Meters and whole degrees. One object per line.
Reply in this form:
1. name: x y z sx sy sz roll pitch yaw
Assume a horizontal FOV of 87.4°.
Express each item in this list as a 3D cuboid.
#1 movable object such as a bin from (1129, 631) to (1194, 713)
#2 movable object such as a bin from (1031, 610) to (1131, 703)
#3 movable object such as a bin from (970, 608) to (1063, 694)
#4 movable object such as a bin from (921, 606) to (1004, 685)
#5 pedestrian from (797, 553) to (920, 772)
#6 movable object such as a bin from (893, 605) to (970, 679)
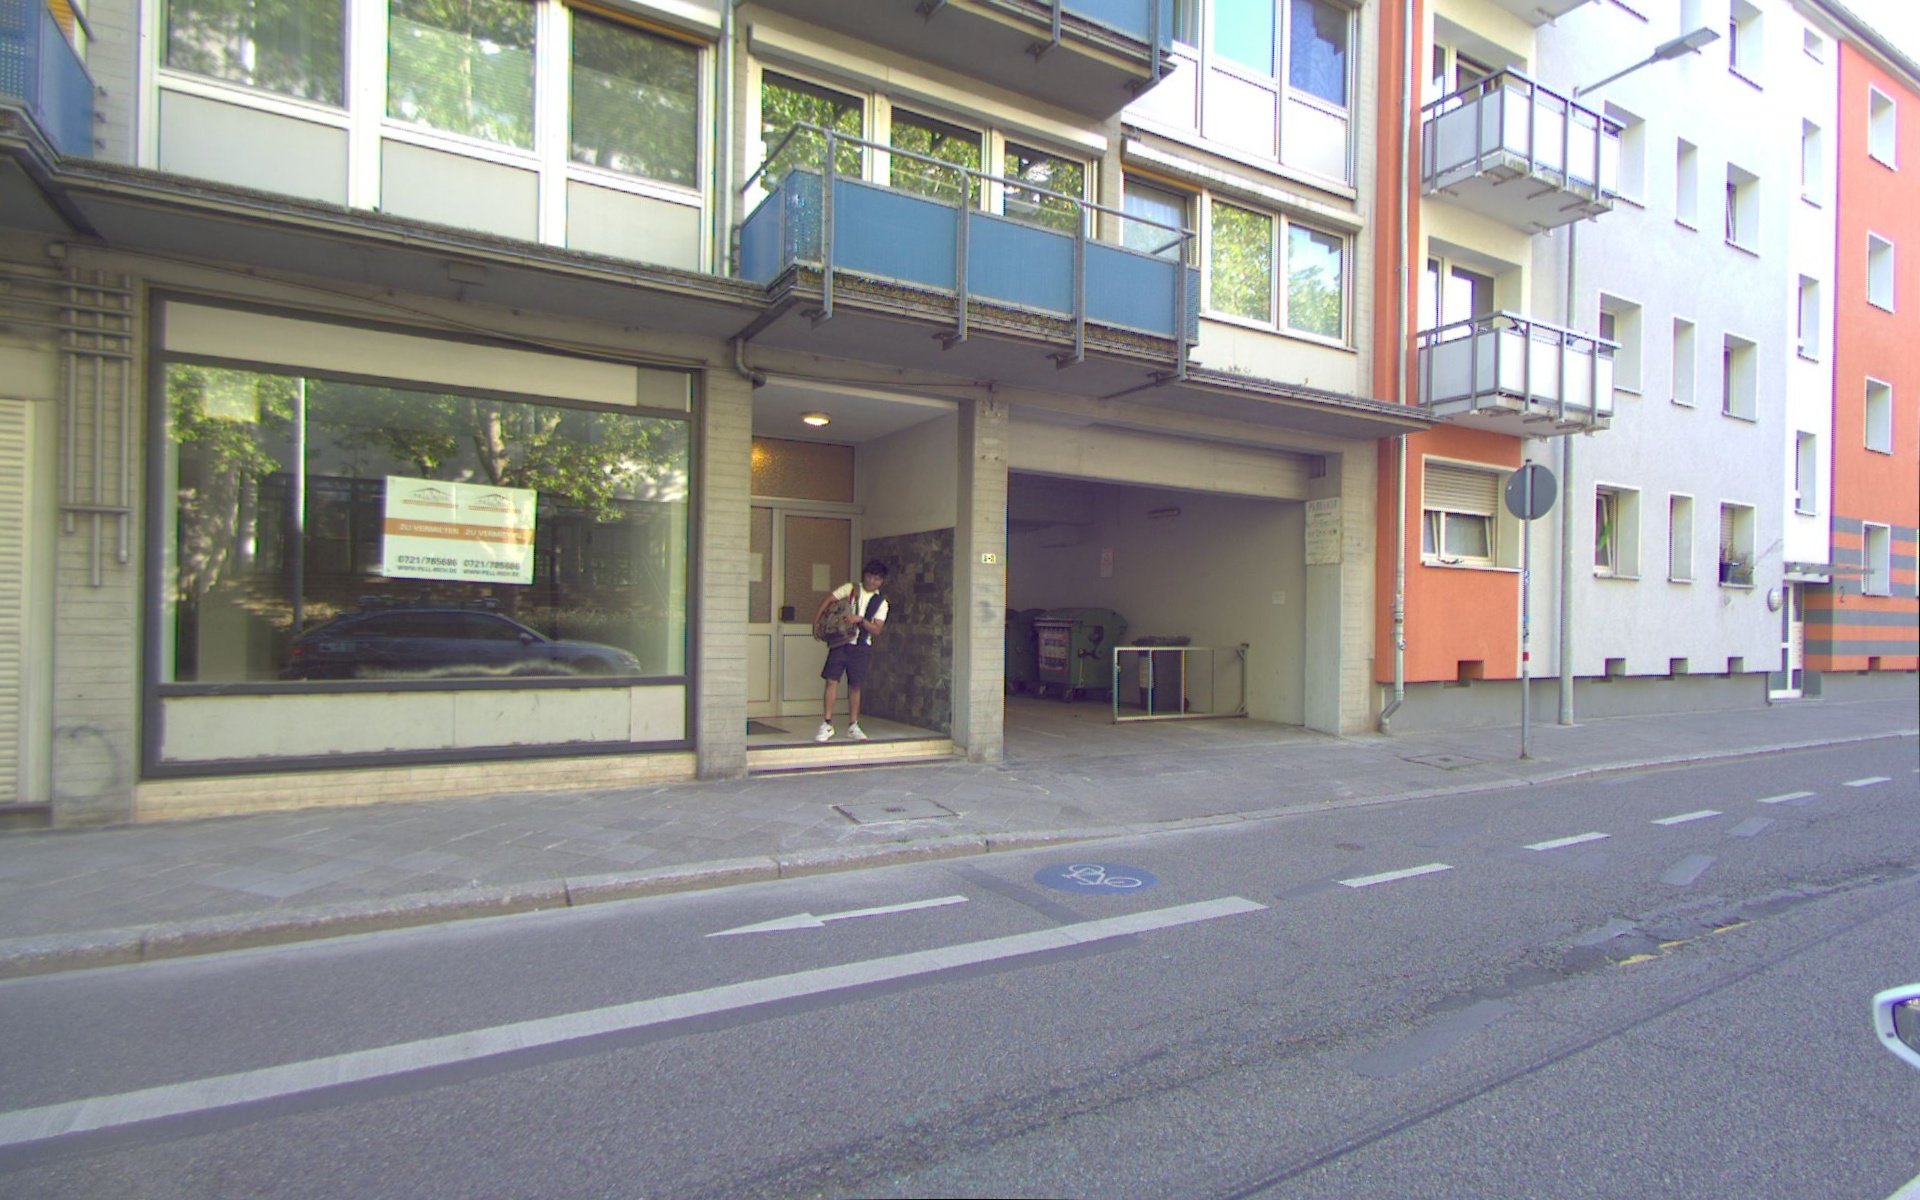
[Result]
1. movable object such as a bin: 2.893 1.026 14.463 0.650 1.115 0.626 2 0 -27
2. movable object such as a bin: 1.892 0.866 15.813 1.066 1.384 1.192 2 0 -27
3. movable object such as a bin: 0.950 0.844 17.127 1.066 1.384 1.255 2 0 -27
4. movable object such as a bin: 0.040 0.823 18.696 1.066 1.384 1.255 2 0 -27
5. pedestrian: -0.945 0.553 9.256 0.882 1.902 0.703 2 0 -28
6. movable object such as a bin: -0.569 0.810 19.866 1.066 1.384 1.255 2 0 -27
